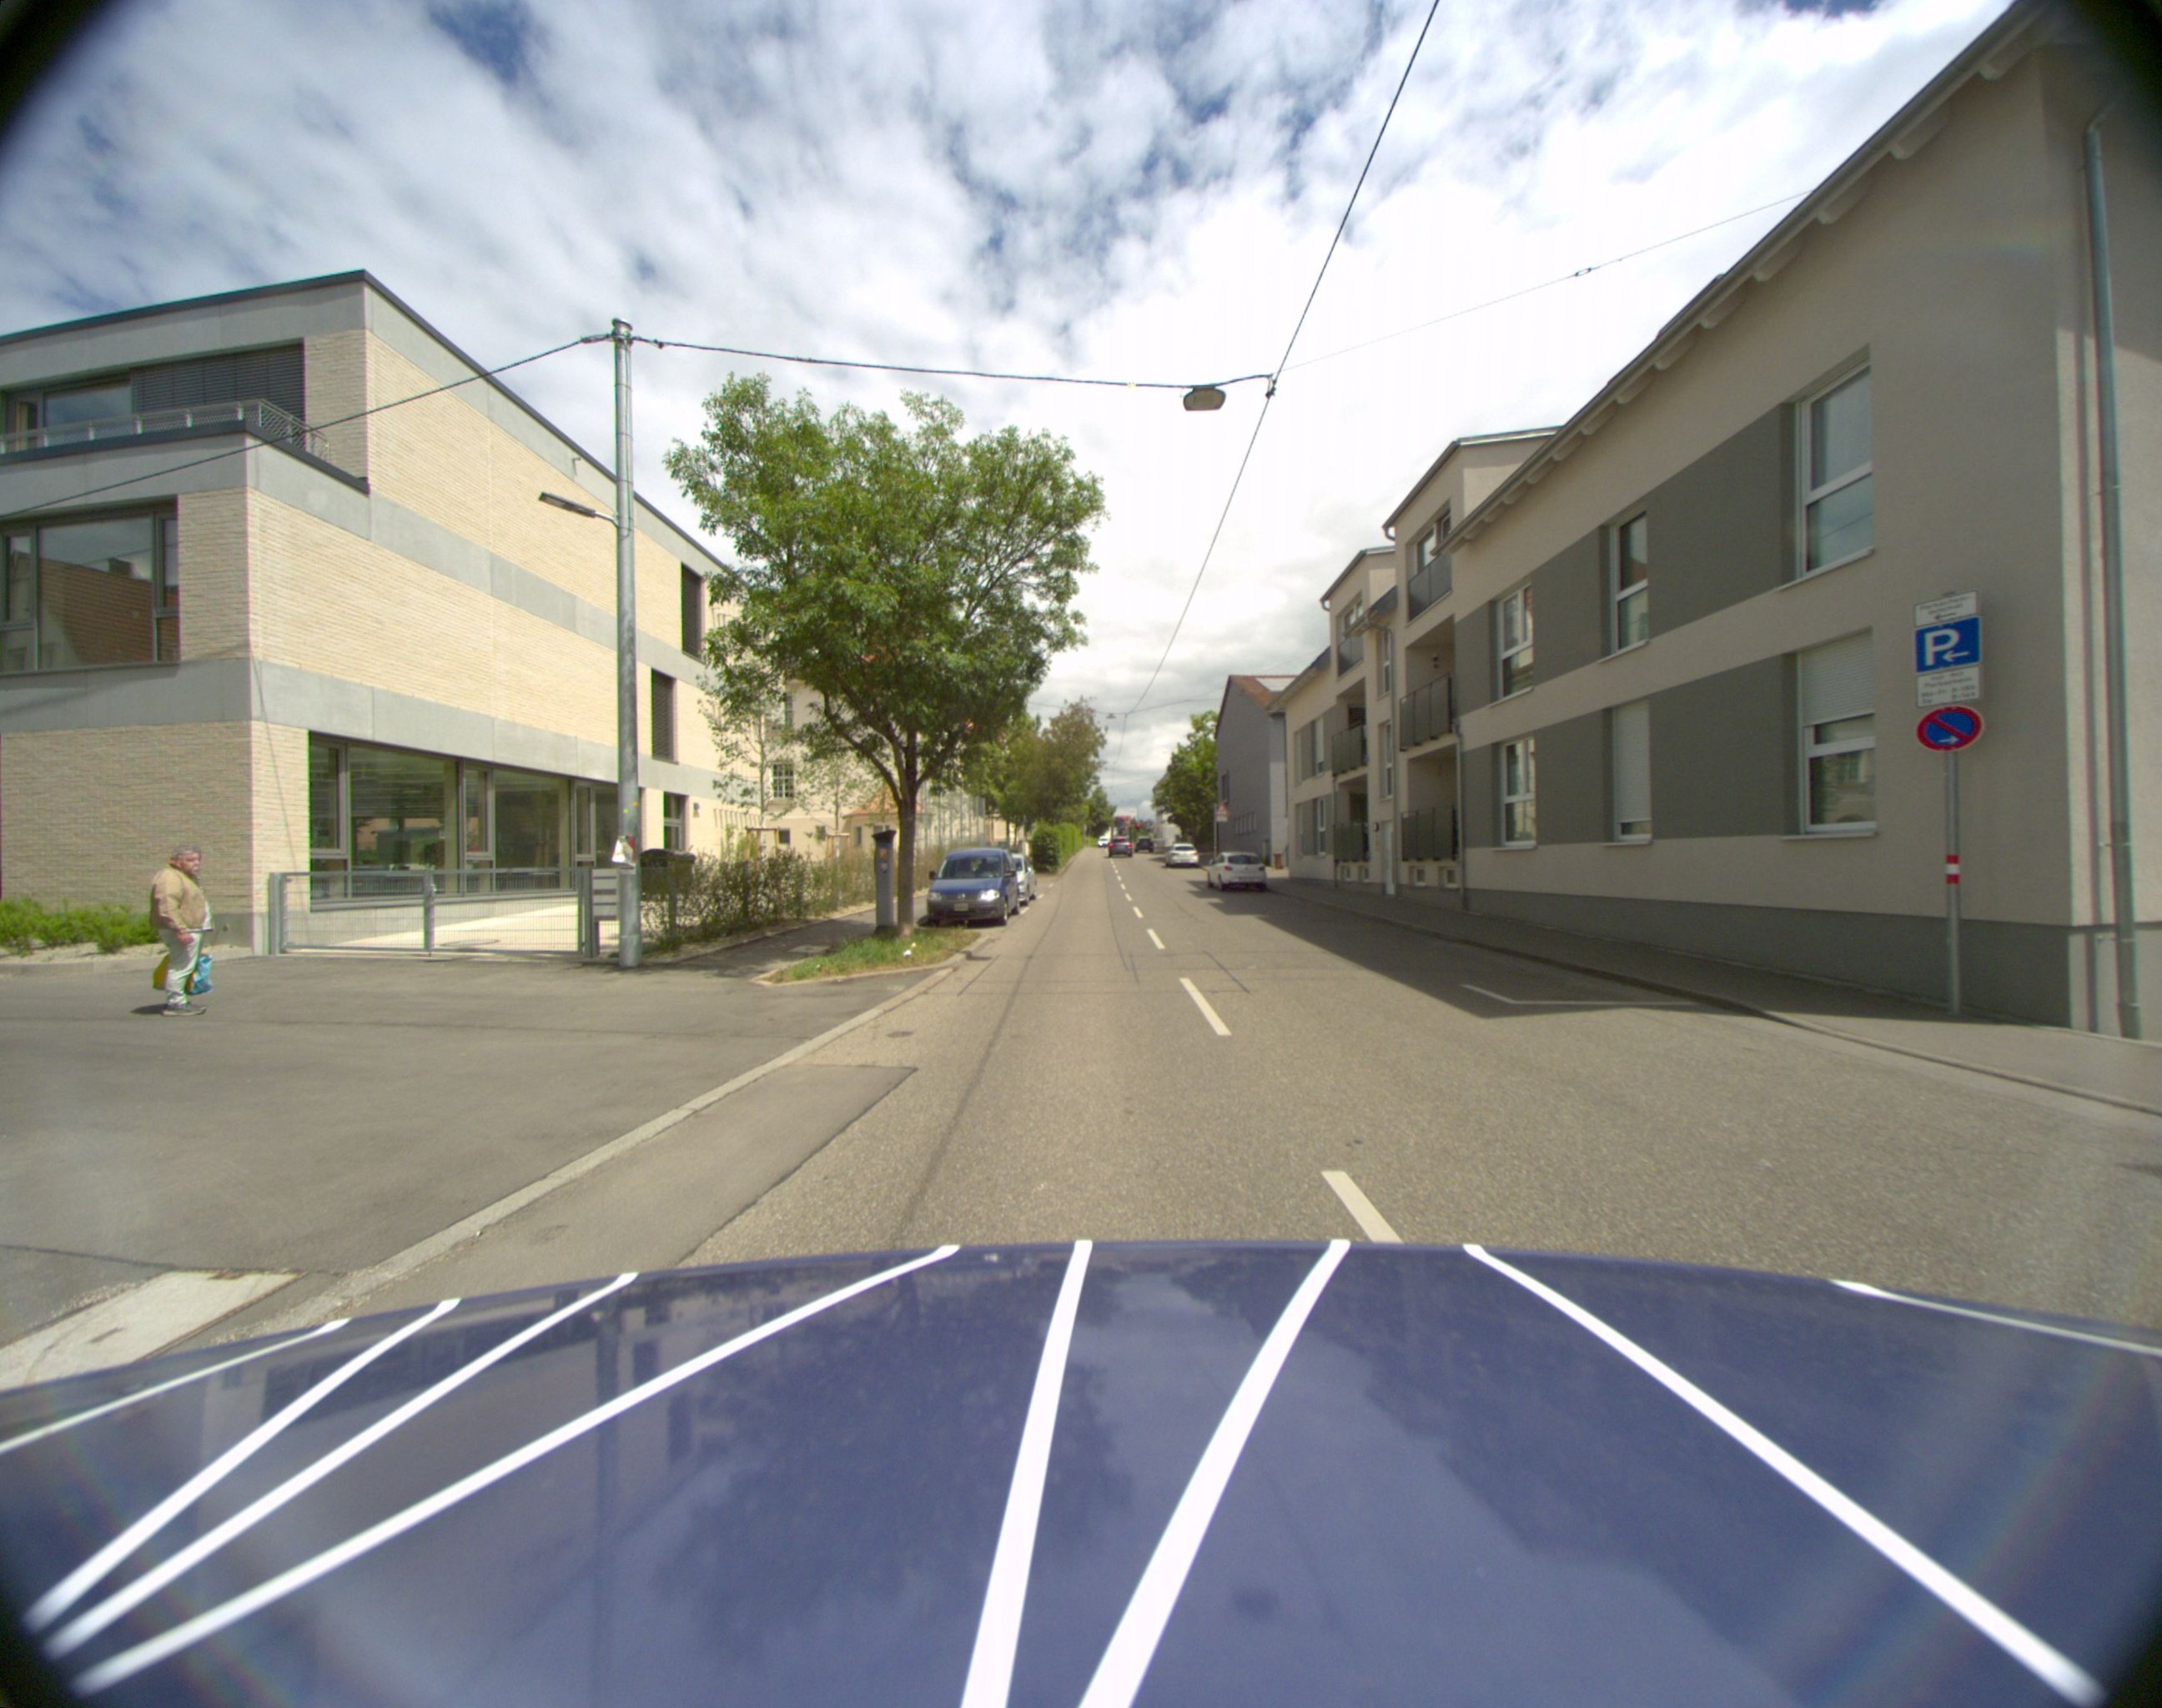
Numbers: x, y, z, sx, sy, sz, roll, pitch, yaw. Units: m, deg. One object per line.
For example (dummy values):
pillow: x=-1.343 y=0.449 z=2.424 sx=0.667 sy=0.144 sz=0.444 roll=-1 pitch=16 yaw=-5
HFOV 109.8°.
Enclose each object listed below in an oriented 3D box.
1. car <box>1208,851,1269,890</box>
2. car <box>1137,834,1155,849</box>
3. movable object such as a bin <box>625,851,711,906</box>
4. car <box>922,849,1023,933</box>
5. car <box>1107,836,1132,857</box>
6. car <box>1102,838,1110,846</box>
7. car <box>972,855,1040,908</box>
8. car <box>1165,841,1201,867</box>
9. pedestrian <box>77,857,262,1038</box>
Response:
car: x=5.853 y=0.576 z=28.570 sx=1.665 sy=1.322 sz=3.473 roll=0 pitch=1 yaw=1
car: x=6.809 y=-1.356 z=79.738 sx=1.672 sy=1.545 sz=3.964 roll=0 pitch=2 yaw=1
movable object such as a bin: x=-11.546 y=0.660 z=21.333 sx=1.351 sy=1.438 sz=1.807 roll=-1 pitch=0 yaw=2
car: x=-2.460 y=0.770 z=18.166 sx=1.698 sy=1.733 sz=4.159 roll=-1 pitch=1 yaw=1
car: x=3.238 y=-0.603 z=65.000 sx=1.946 sy=1.709 sz=4.596 roll=-1 pitch=0 yaw=0
car: x=3.987 y=-1.887 z=121.787 sx=1.298 sy=1.148 sz=2.983 roll=-3 pitch=-1 yaw=1
car: x=-2.277 y=0.802 z=23.979 sx=1.677 sy=1.510 sz=3.670 roll=-1 pitch=1 yaw=1
car: x=6.218 y=-0.032 z=46.575 sx=1.737 sy=1.480 sz=4.065 roll=0 pitch=2 yaw=1
pedestrian: x=-9.138 y=0.894 z=7.663 sx=0.775 sy=1.693 sz=0.829 roll=-2 pitch=1 yaw=0
